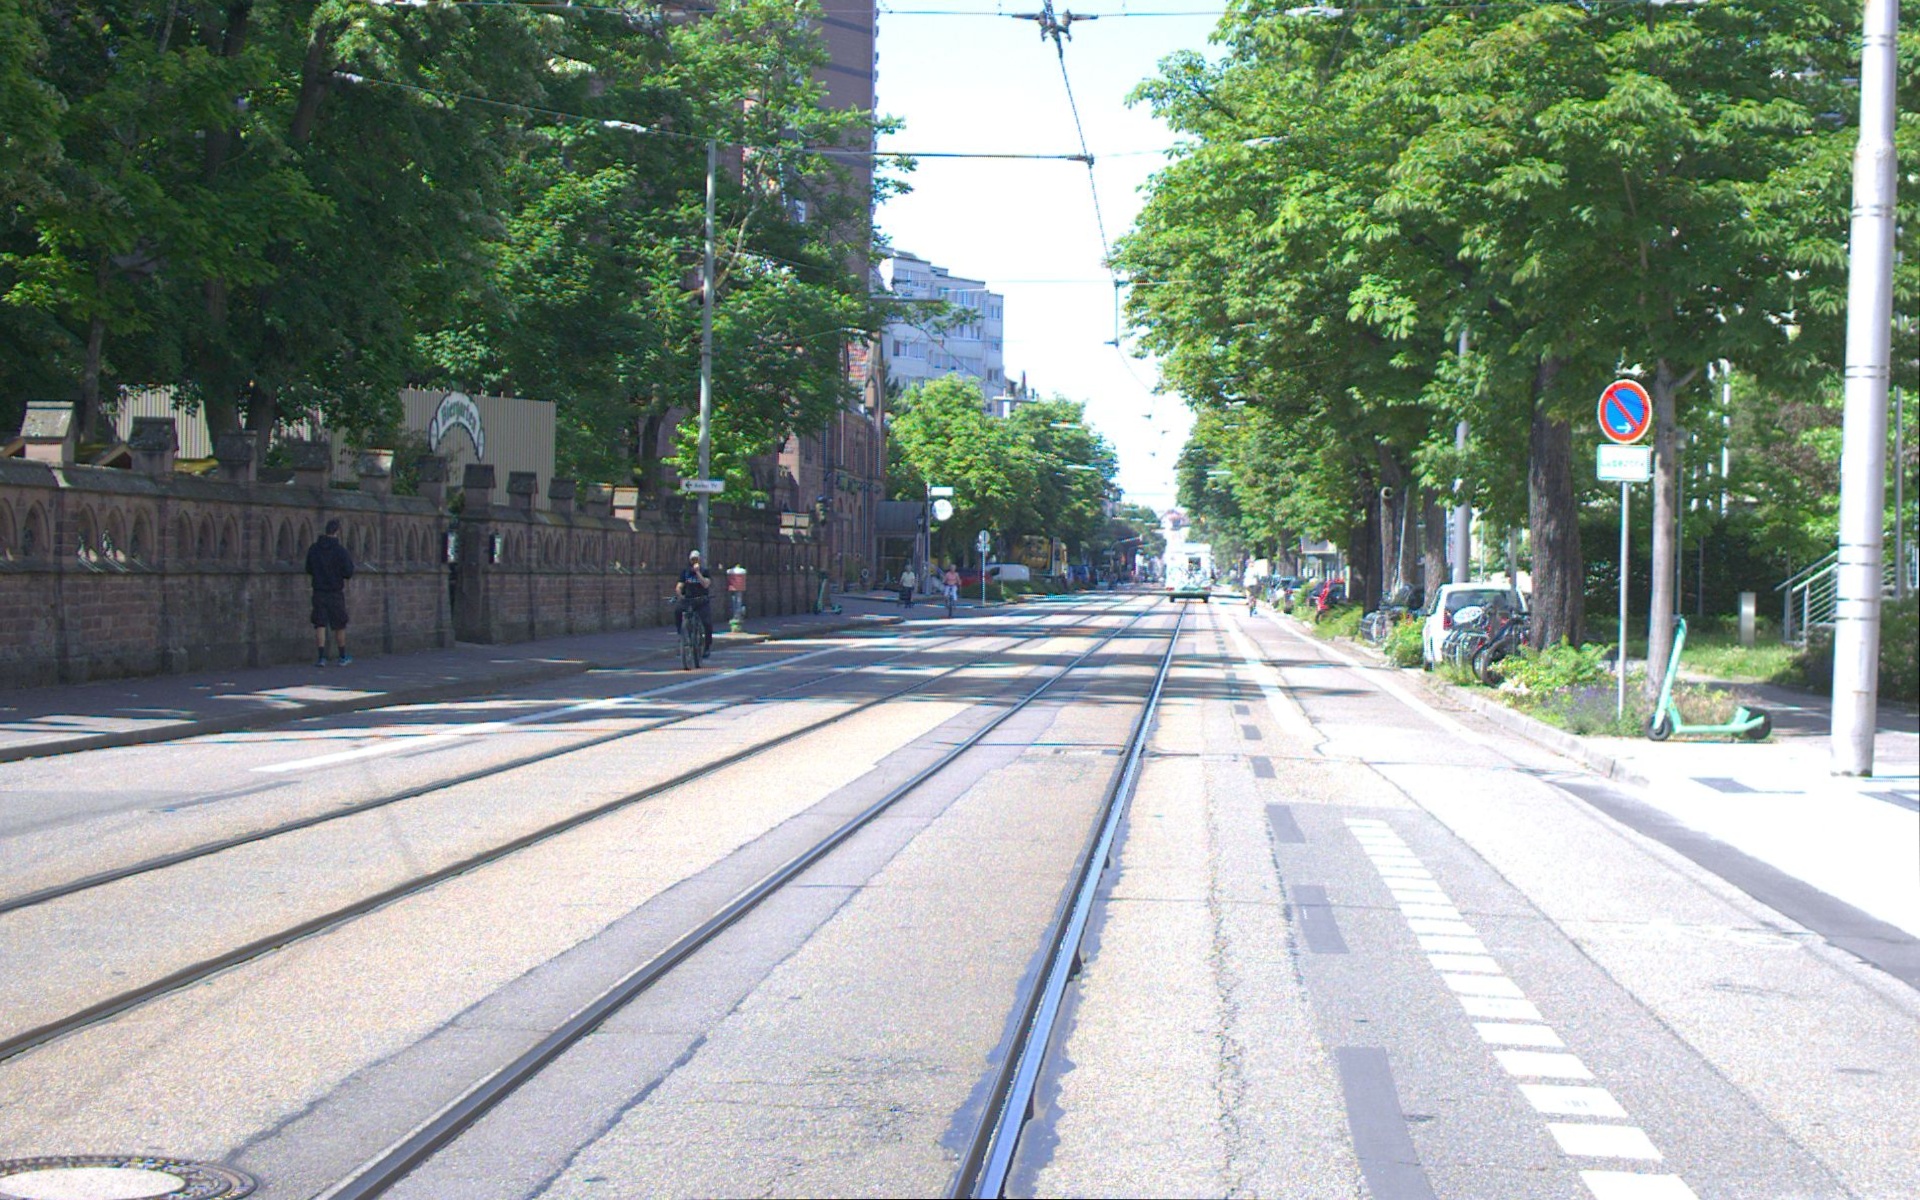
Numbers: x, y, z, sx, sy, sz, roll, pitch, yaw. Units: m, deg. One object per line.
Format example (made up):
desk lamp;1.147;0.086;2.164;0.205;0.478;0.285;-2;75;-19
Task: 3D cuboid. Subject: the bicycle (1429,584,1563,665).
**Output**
bicycle;8.087;0.364;51.924;1.904;1.165;0.819;1;1;4

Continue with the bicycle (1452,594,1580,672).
bicycle;7.949;0.467;49.187;1.724;1.082;0.639;1;1;4

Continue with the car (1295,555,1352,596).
car;12.323;-0.842;116.593;1.630;1.350;3.901;1;1;2

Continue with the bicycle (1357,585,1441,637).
bicycle;9.384;0.227;73.486;1.724;1.082;0.628;1;1;4

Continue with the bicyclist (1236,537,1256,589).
bicyclist;10.205;-1.325;122.724;0.636;1.865;1.024;1;1;3

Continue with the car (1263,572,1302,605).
car;14.641;-0.538;156.106;1.630;1.467;4.113;1;1;4

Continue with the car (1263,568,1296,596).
car;16.848;-0.957;181.626;1.630;1.467;4.113;1;1;4

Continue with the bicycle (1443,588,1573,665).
bicycle;7.976;0.384;50.073;1.793;1.082;0.726;1;1;4

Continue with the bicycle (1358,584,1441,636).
bicycle;9.470;0.215;74.139;1.724;1.082;0.697;1;1;4

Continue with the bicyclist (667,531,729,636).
bicyclist;-3.877;-0.241;50.934;0.740;1.525;0.947;1;0;4

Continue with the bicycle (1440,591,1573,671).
bicycle;8.035;0.450;50.600;1.849;1.128;0.680;1;1;4

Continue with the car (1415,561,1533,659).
car;8.308;0.137;55.792;1.630;1.467;3.630;2;1;5

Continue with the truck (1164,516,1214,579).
truck;11.754;-2.696;176.439;2.403;3.098;6.036;2;1;4

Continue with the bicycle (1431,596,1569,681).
bicycle;7.159;0.507;45.619;1.724;1.082;0.789;1;1;4

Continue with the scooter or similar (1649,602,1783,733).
scooter or similar;6.998;0.618;31.876;1.126;1.162;0.675;1;1;7

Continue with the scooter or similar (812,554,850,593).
scooter or similar;-3.767;-0.768;100.182;0.333;1.125;1.183;2;1;43

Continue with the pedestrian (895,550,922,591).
pedestrian;-1.906;-1.093;127.379;0.883;1.507;1.476;1;0;-5

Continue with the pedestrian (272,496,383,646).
pedestrian;-8.054;-0.370;43.827;0.976;1.809;1.184;5;1;4

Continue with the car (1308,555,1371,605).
car;11.766;-0.639;106.749;1.630;1.467;3.719;2;1;2

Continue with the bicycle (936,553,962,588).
bicycle;-0.358;-0.988;114.539;0.662;1.150;2.014;2;1;4

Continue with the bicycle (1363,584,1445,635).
bicycle;9.657;0.209;74.778;1.724;1.082;0.570;1;1;4

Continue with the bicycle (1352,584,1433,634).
bicycle;9.613;0.204;76.436;1.724;1.082;0.615;1;1;4

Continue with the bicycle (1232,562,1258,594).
bicycle;10.149;-0.788;122.596;0.856;1.106;2.139;2;1;3

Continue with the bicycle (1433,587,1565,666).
bicycle;8.038;0.392;51.279;1.873;1.137;0.686;1;1;4

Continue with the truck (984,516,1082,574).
truck;5.083;-3.766;236.873;2.817;3.846;9.986;1;1;26

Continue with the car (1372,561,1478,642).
car;9.142;0.003;67.789;1.630;1.478;4.273;1;1;2

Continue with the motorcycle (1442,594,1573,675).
motorcycle;7.609;0.470;47.806;1.724;1.082;0.658;1;1;4

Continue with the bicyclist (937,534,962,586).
bicyclist;-0.336;-1.326;114.603;0.725;1.692;1.146;1;1;4

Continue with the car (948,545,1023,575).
car;1.540;-2.427;207.998;3.986;1.744;2.000;1;1;-26

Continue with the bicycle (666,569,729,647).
bicycle;-3.872;0.113;50.861;0.592;1.102;2.054;2;1;4

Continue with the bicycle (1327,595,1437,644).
bicycle;11.978;0.552;97.579;3.029;1.327;1.041;1;0;8

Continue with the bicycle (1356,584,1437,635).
bicycle;9.566;0.196;75.376;1.724;1.082;0.589;1;1;4

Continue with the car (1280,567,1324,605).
car;13.749;-0.576;138.232;1.630;1.467;4.113;1;1;4
